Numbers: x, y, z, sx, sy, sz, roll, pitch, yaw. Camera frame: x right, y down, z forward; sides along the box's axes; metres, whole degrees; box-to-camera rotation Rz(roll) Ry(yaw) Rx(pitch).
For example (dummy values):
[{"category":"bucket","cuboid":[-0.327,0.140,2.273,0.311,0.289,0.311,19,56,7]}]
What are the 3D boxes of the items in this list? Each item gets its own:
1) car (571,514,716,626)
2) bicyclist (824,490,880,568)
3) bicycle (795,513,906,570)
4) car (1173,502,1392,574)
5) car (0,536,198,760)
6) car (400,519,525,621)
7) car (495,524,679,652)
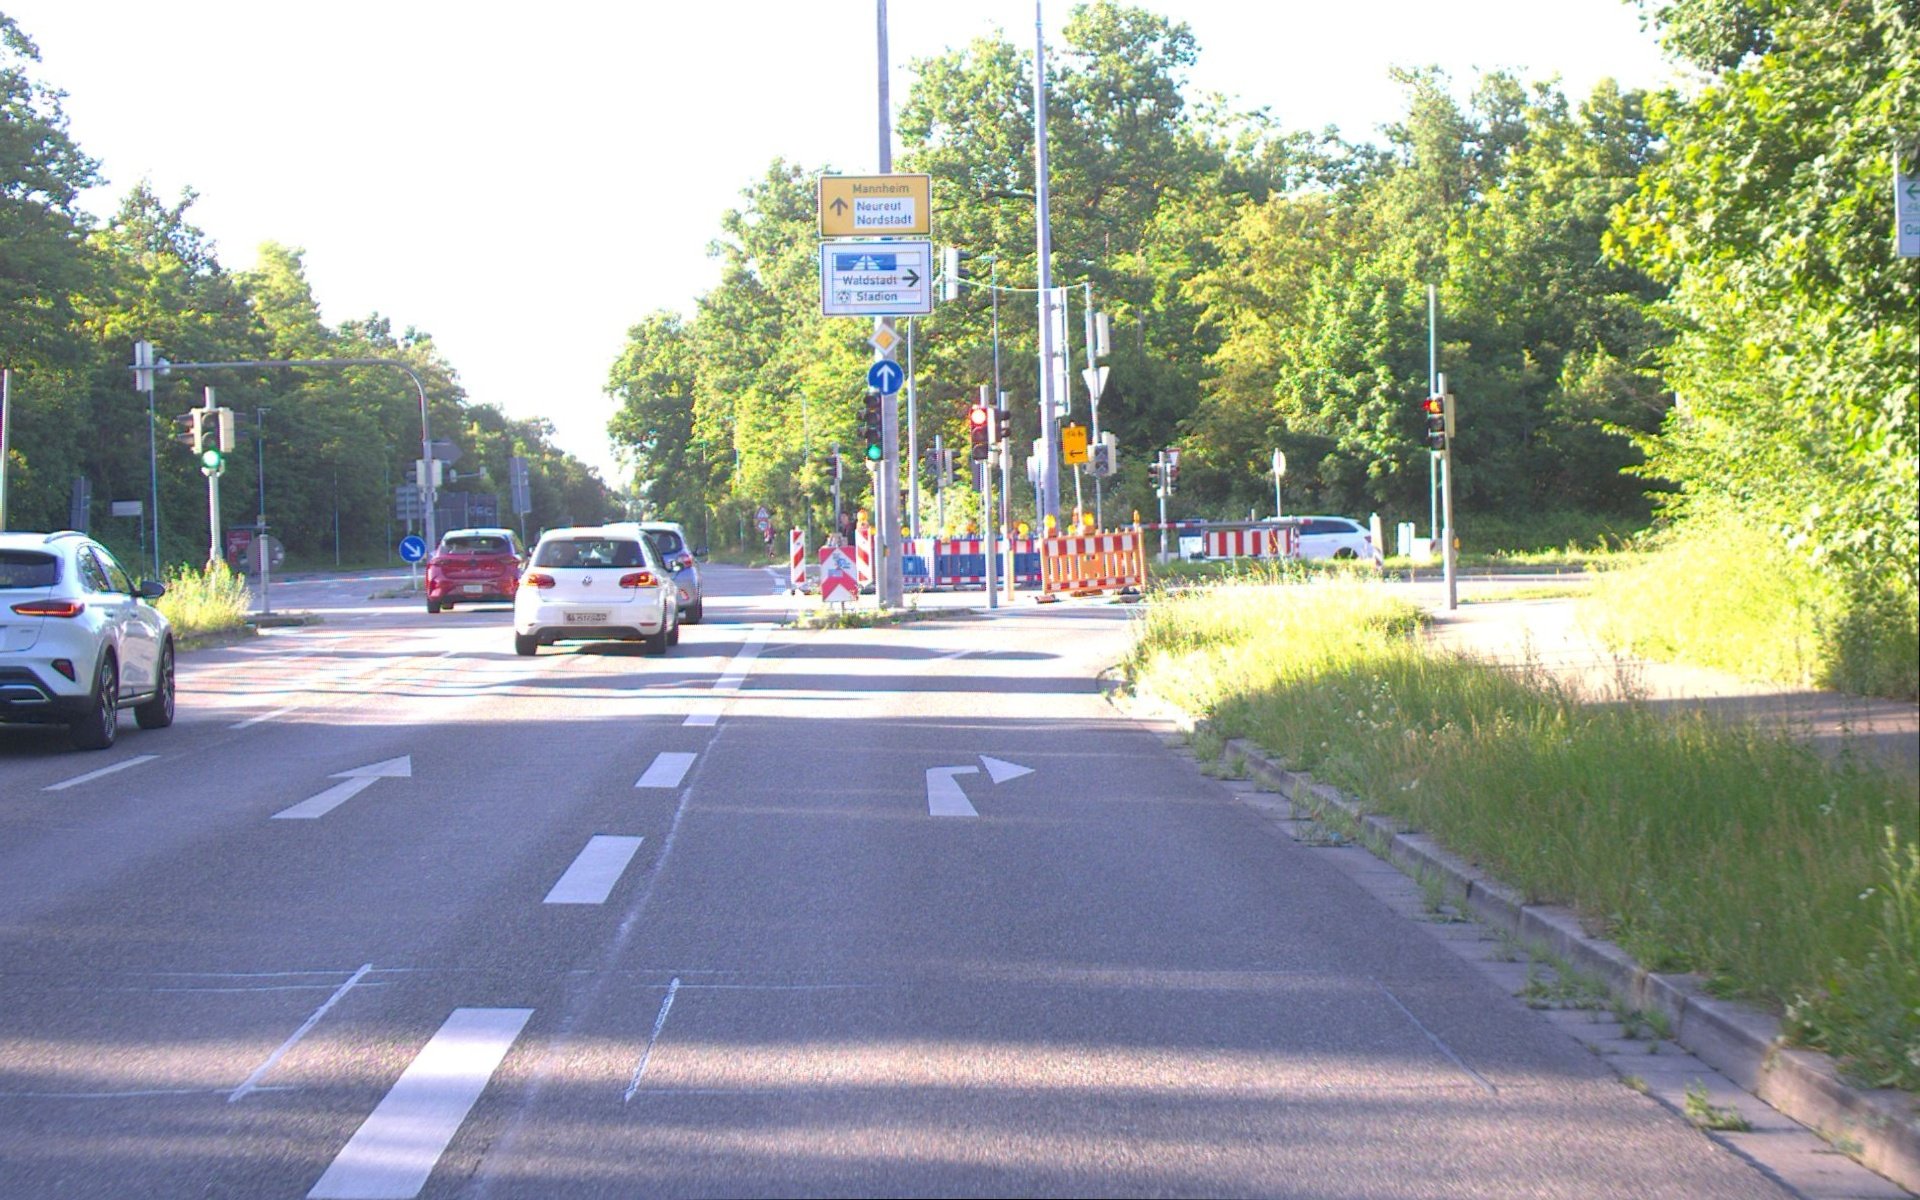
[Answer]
[{"category":"car","cuboid":[-4.709,-0.459,50.705,1.993,1.531,4.001,-2,1,-6]},{"category":"bicyclist","cuboid":[-2.680,-1.759,85.476,1.013,1.923,0.968,-1,2,-34]},{"category":"bicycle","cuboid":[-2.720,-1.464,85.445,2.632,1.378,0.968,-1,2,-34]},{"category":"car","cuboid":[7.728,-1.496,82.427,4.817,1.575,2.000,-2,1,-24]},{"category":"car","cuboid":[-6.675,0.279,24.228,1.863,1.439,4.001,-1,1,-2]},{"category":"car","cuboid":[-8.695,-0.549,60.370,1.993,1.679,4.001,-2,1,-6]},{"category":"car","cuboid":[-4.418,-0.177,41.221,1.940,1.409,4.001,-2,1,-3]}]
